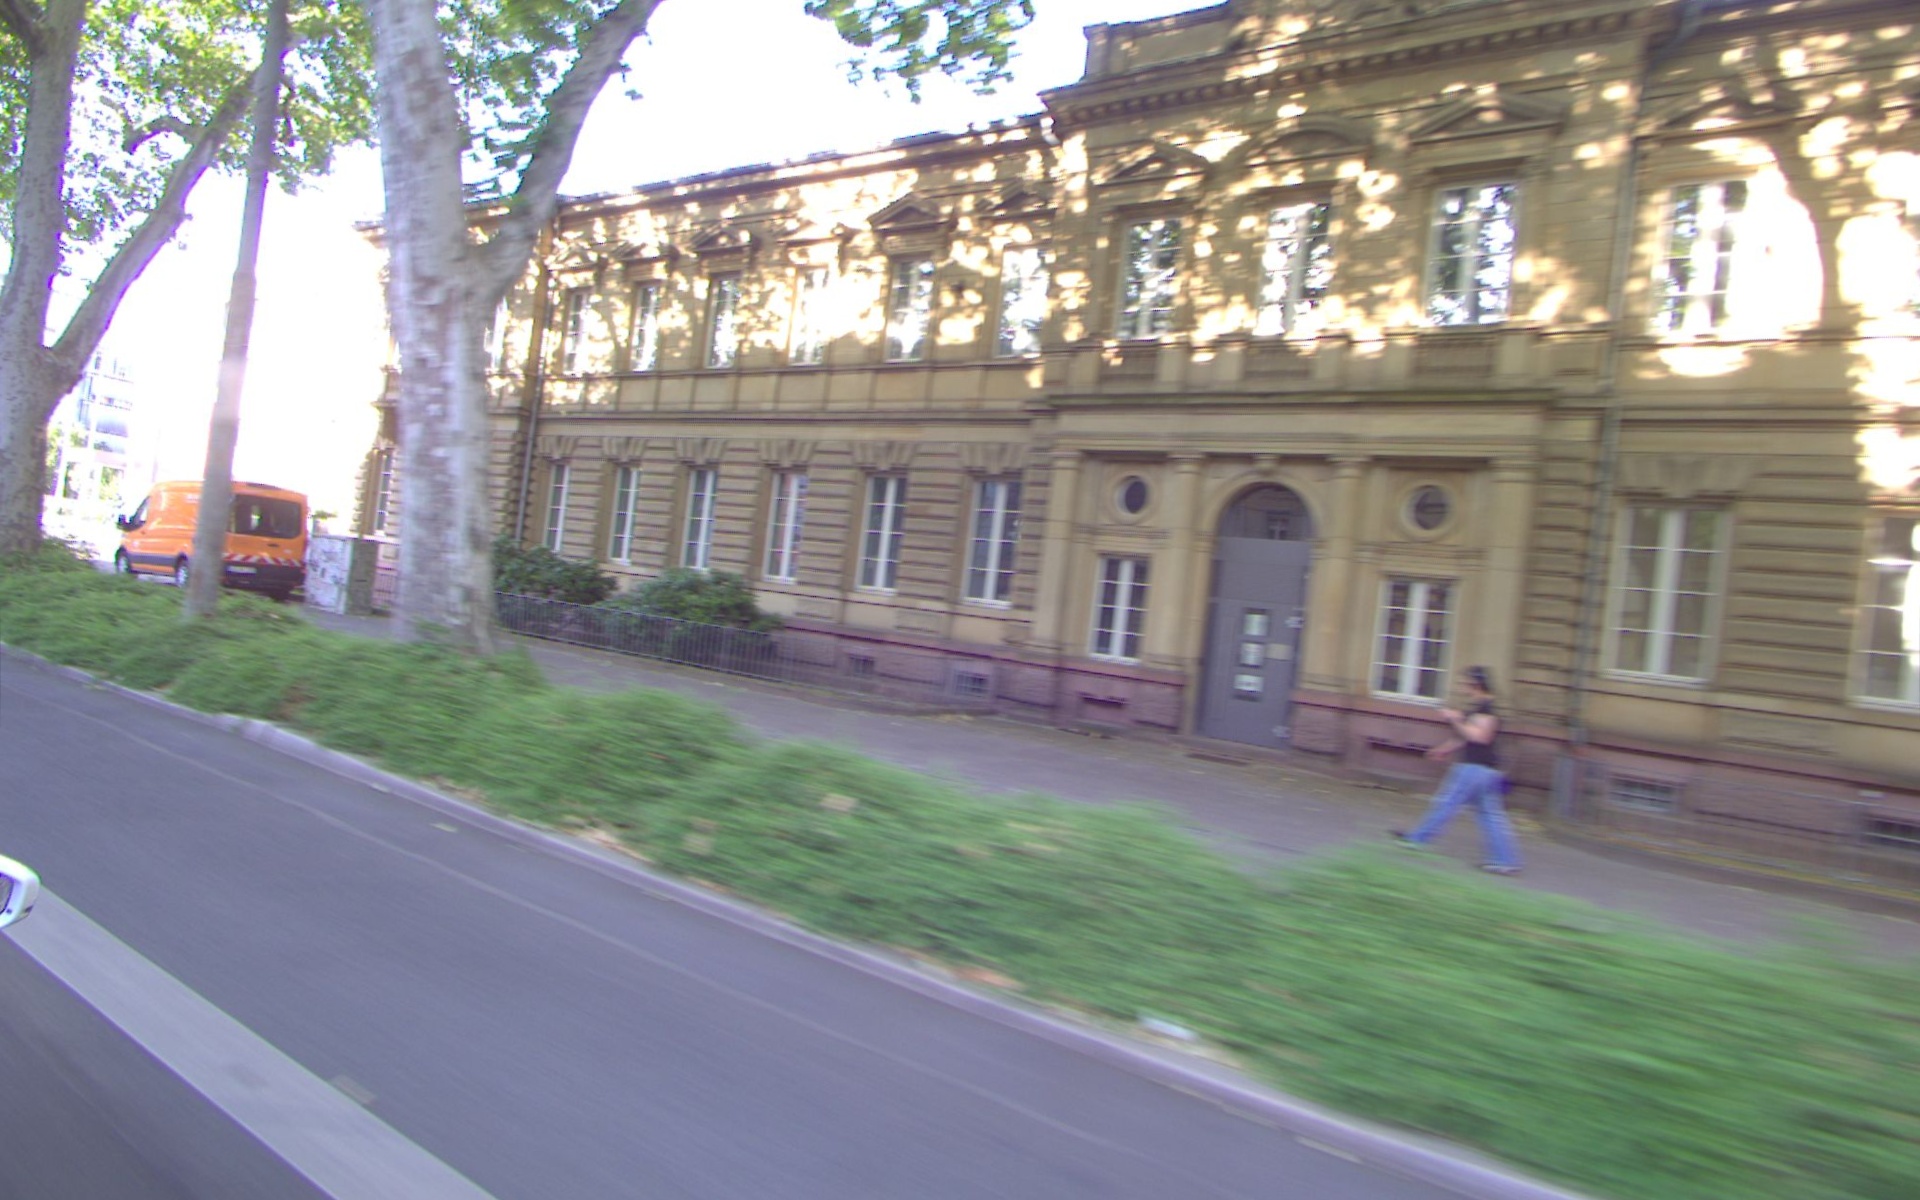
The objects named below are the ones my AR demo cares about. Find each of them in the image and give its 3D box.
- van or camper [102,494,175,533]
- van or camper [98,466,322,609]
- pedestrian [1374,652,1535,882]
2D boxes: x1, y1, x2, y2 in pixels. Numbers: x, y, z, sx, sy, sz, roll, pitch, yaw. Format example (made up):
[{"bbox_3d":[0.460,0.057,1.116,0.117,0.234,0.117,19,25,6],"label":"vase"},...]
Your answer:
[{"bbox_3d":[-53.295,-5.610,65.270,4.916,1.932,1.984,7,0,31],"label":"van or camper"},{"bbox_3d":[-17.079,-1.465,22.808,5.679,2.590,2.038,7,-1,33],"label":"van or camper"},{"bbox_3d":[4.283,1.398,8.715,0.991,1.757,0.651,7,0,34],"label":"pedestrian"}]
